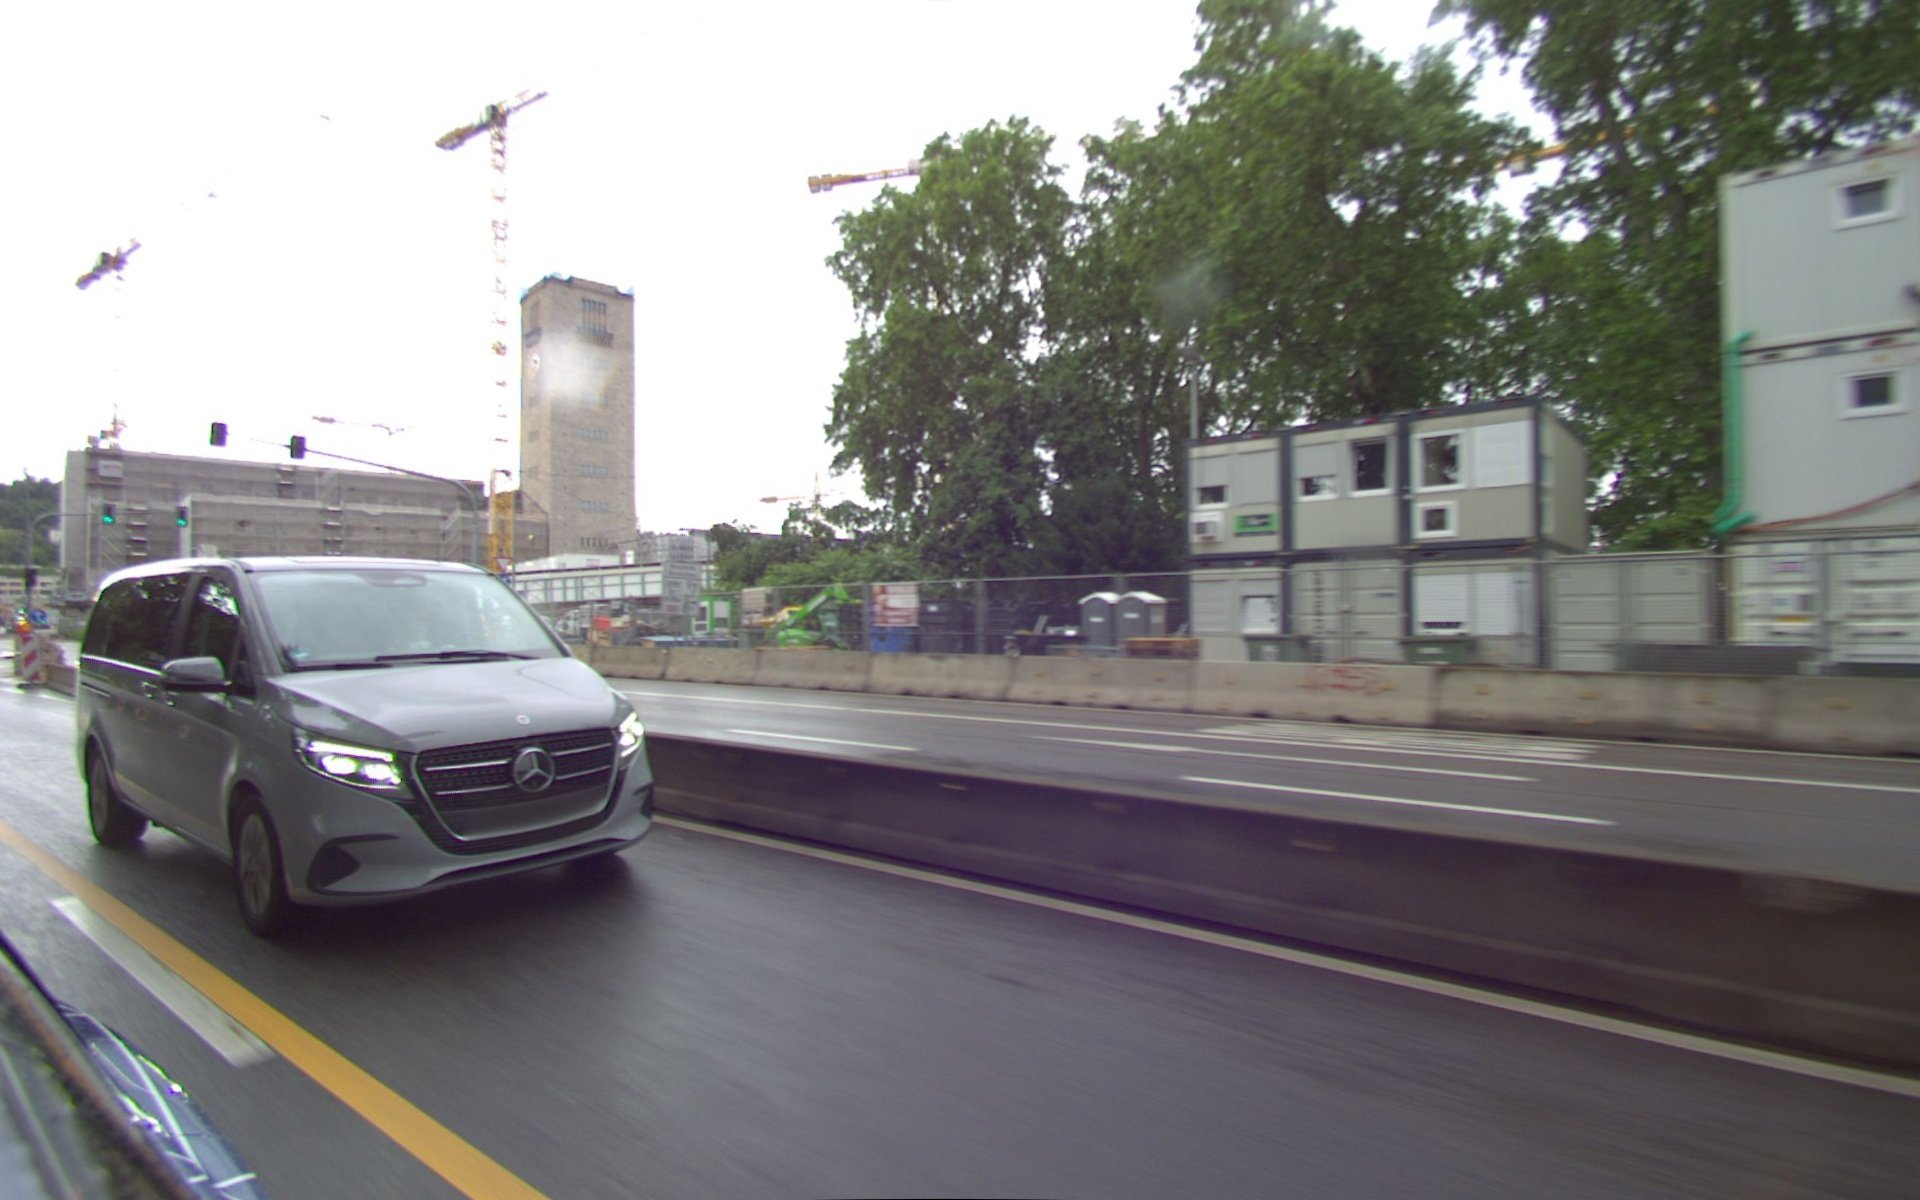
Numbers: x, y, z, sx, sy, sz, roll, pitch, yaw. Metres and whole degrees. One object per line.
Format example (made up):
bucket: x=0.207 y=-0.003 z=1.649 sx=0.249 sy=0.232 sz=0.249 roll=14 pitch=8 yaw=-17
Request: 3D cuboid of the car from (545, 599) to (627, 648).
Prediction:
car: x=-24.931 y=1.576 z=67.377 sx=6.160 sy=3.089 sz=2.252 roll=-1 pitch=-2 yaw=38

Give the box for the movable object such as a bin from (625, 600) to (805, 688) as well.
movable object such as a bin: x=-9.754 y=1.704 z=40.069 sx=6.382 sy=3.152 sz=3.893 roll=-1 pitch=-2 yaw=39

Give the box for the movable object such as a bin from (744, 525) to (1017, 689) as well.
movable object such as a bin: x=-2.799 y=0.333 z=34.384 sx=8.351 sy=4.840 sz=4.702 roll=-1 pitch=-2 yaw=39

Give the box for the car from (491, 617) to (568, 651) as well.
car: x=-23.520 y=1.827 z=55.227 sx=4.792 sy=1.775 sz=1.827 roll=-1 pitch=-2 yaw=39

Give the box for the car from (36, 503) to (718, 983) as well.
car: x=-4.021 y=0.638 z=6.426 sx=5.351 sy=1.870 sz=1.974 roll=-2 pitch=-1 yaw=39

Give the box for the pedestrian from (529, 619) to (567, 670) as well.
pedestrian: x=-16.681 y=1.792 z=40.995 sx=1.165 sy=2.029 sz=1.175 roll=-1 pitch=-1 yaw=-7
